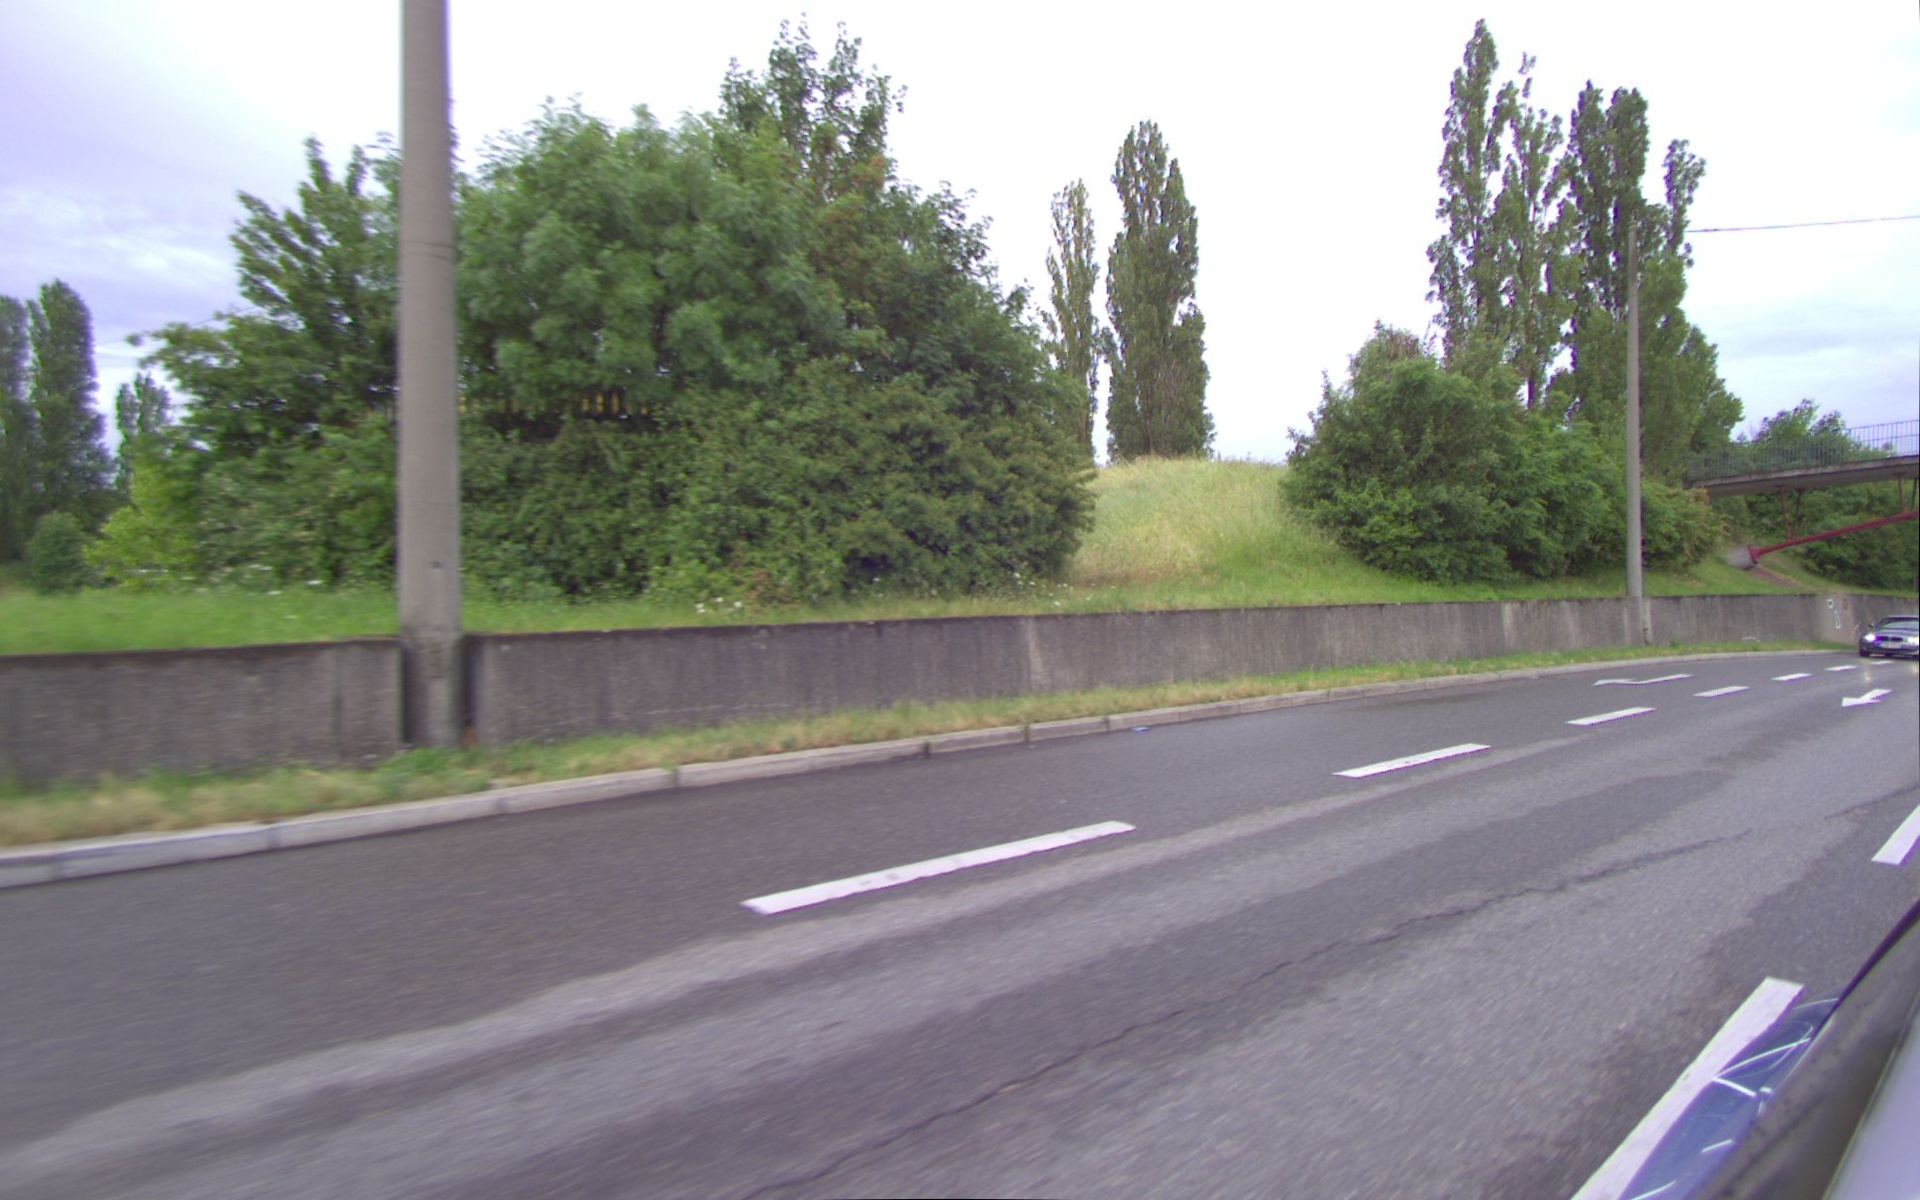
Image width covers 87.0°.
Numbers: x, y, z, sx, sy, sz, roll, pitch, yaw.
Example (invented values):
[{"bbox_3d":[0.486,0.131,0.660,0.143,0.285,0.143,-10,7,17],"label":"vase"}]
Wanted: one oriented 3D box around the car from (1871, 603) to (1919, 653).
[{"bbox_3d":[30.823,0.902,32.400,3.927,1.529,1.810,2,0,-38],"label":"car"}]
